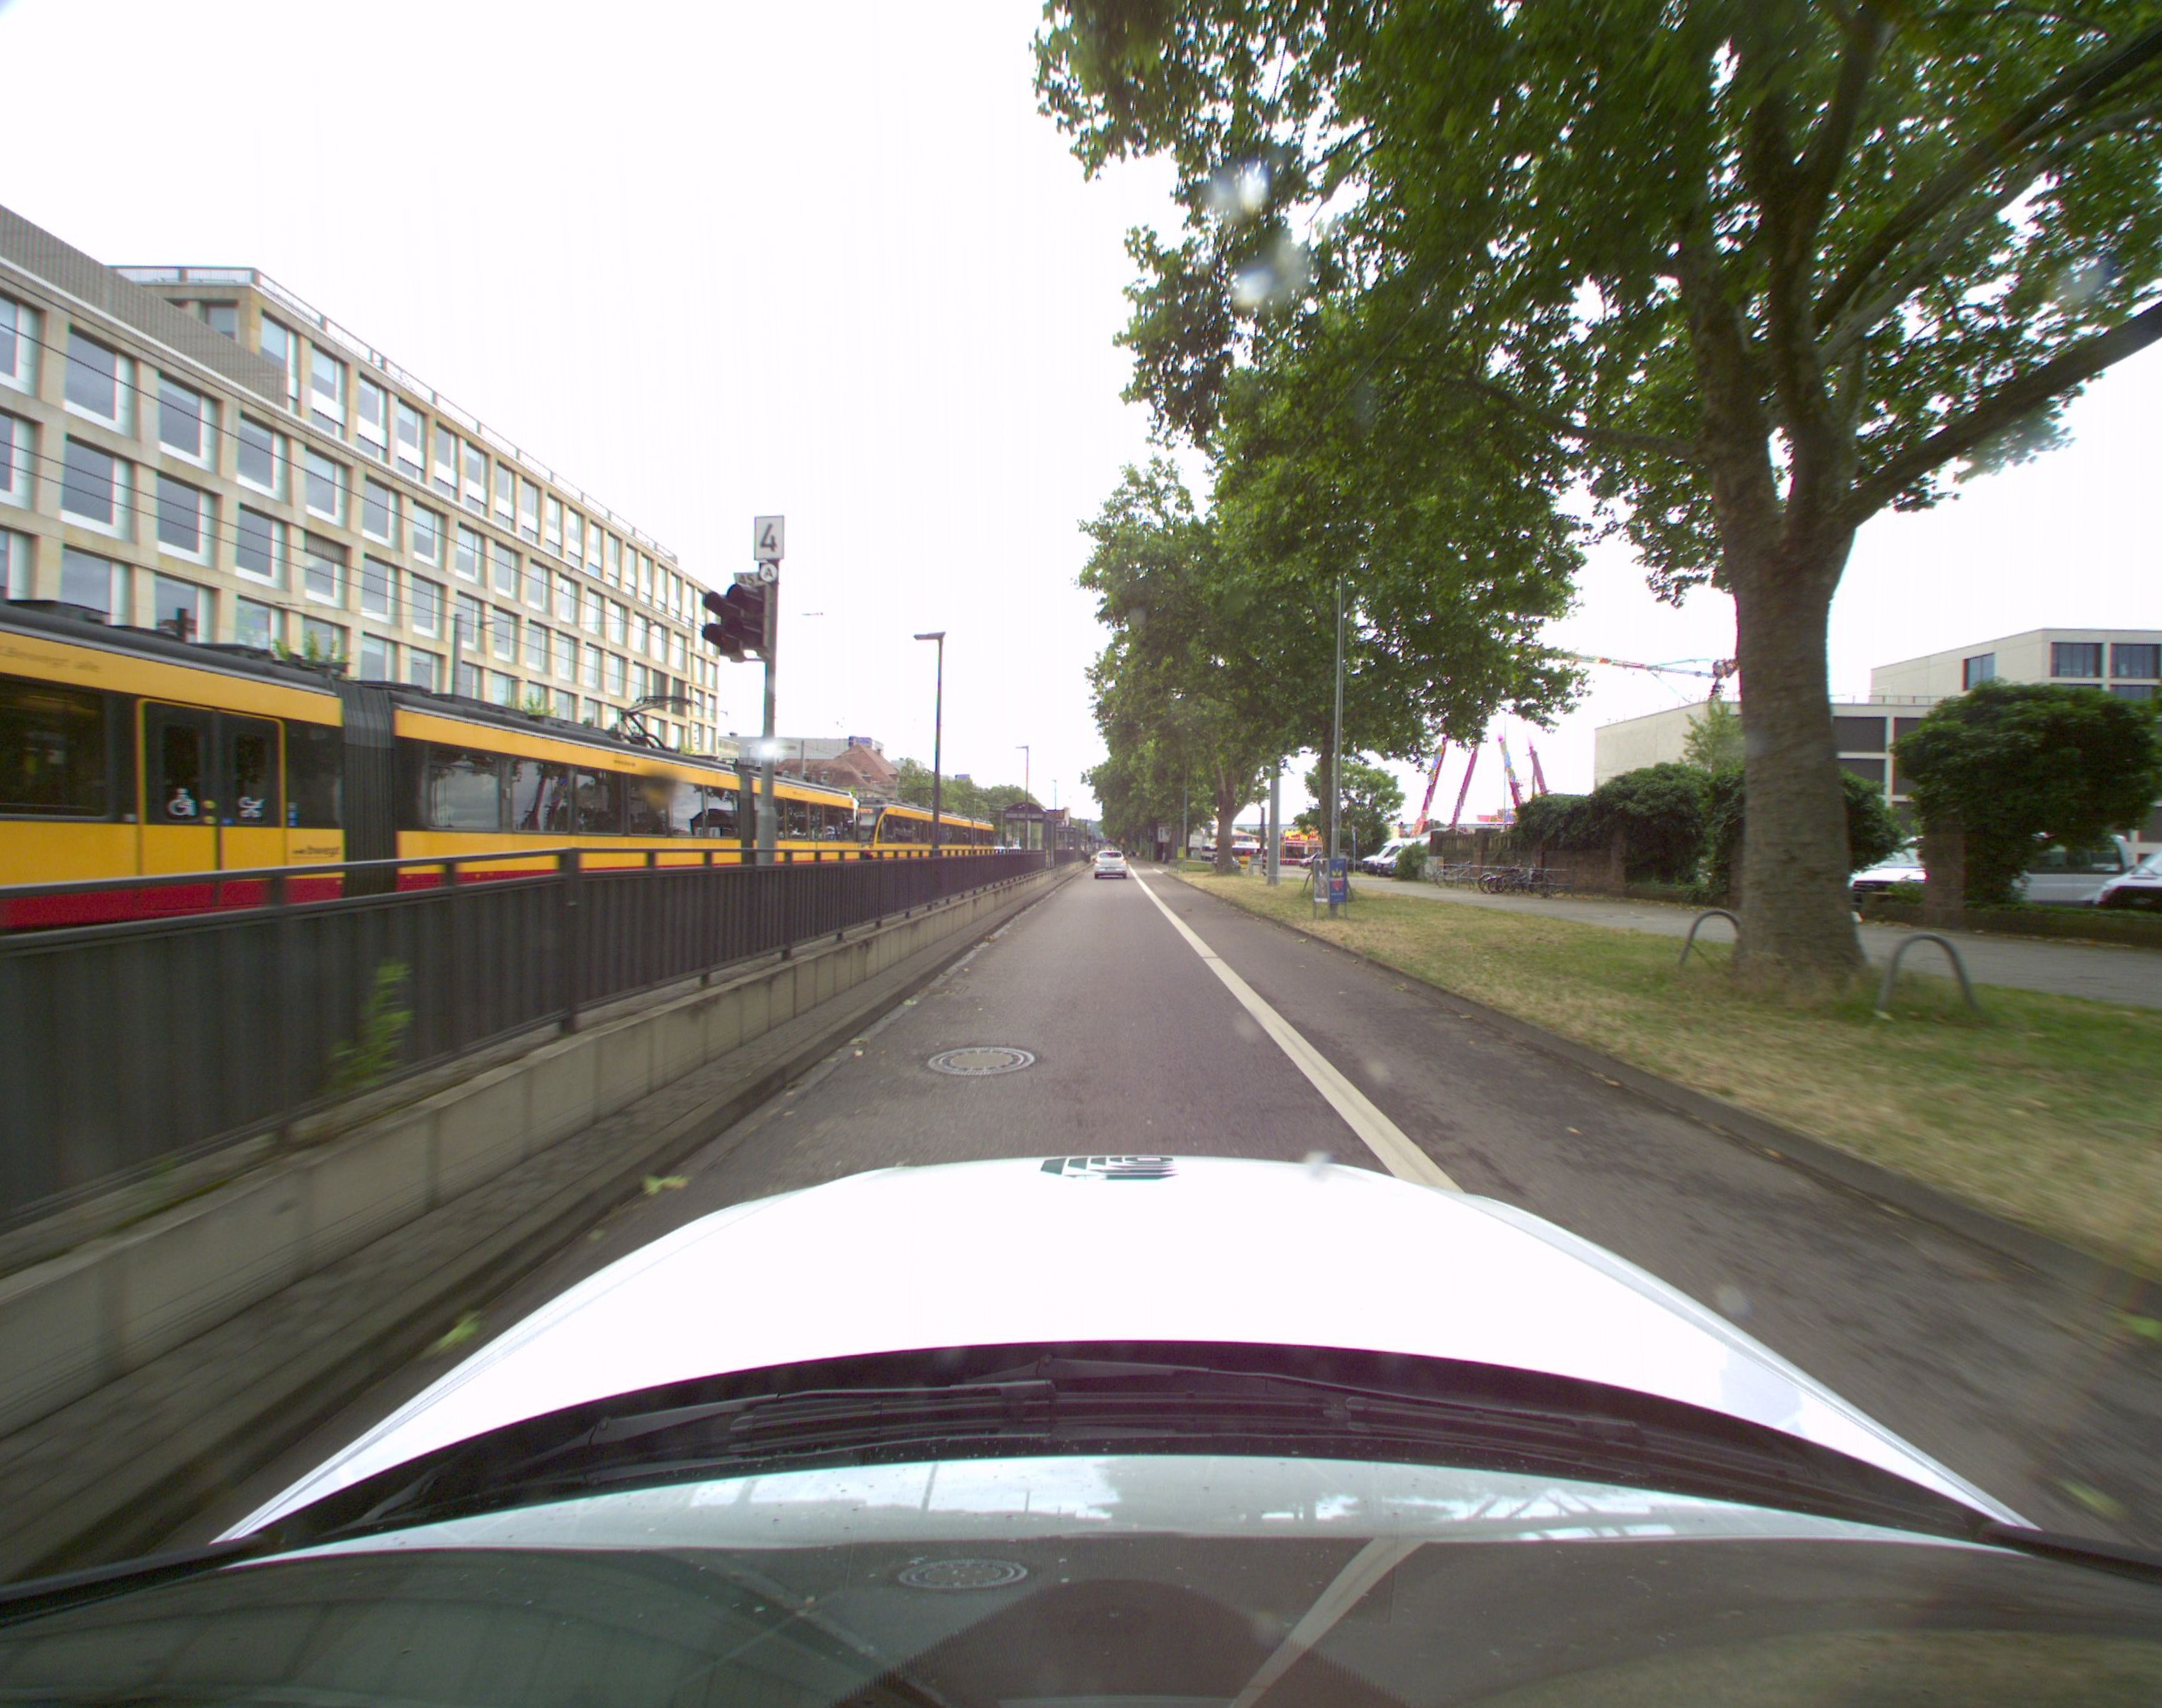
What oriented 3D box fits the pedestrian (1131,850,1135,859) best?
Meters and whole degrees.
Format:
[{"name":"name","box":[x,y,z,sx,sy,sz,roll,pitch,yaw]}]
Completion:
[{"name":"pedestrian","box":[8.312,0.146,129.934,0.393,1.444,0.565,1,-1,16]}]

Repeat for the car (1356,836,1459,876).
[{"name":"car","box":[21.693,0.131,54.238,6.003,2.555,2.100,1,0,0]}]

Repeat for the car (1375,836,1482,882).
[{"name":"car","box":[21.622,0.294,50.841,5.764,2.535,2.040,3,0,1]}]

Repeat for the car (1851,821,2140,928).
[{"name":"car","box":[21.543,0.470,19.303,5.080,2.264,1.665,2,-1,-1]}]

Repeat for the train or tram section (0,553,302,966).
[{"name":"train or tram section","box":[-11.855,-0.921,4.792,3.225,3.862,11.317,1,0,2]}]

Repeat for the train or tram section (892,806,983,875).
[{"name":"train or tram section","box":[-9.694,-0.779,57.493,3.168,4.179,14.742,1,0,2]}]

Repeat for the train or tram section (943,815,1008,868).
[{"name":"train or tram section","box":[-9.091,-0.932,72.189,3.168,4.179,14.742,1,0,2]}]

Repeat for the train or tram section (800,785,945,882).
[{"name":"train or tram section","box":[-10.292,-0.856,42.775,3.168,4.179,14.742,1,0,2]}]

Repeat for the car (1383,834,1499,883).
[{"name":"car","box":[20.993,0.241,47.712,5.759,2.522,2.173,3,1,4]}]

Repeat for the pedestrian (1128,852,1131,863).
[{"name":"pedestrian","box":[8.879,0.662,150.199,0.393,2.014,0.404,1,-1,17]}]

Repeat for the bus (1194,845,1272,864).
[{"name":"bus","box":[18.812,0.053,101.038,9.249,2.227,1.999,1,0,-1]}]

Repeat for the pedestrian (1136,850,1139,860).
[{"name":"pedestrian","box":[9.002,0.219,129.984,0.393,1.585,0.540,1,-1,12]}]

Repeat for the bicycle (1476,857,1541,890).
[{"name":"bicycle","box":[14.646,0.673,27.920,1.968,1.094,0.550,-1,0,0]}]

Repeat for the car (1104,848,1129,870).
[{"name":"car","box":[2.682,0.355,61.223,1.833,1.552,4.004,0,0,3]}]

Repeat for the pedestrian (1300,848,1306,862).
[{"name":"pedestrian","box":[26.393,0.156,96.911,0.523,1.687,0.492,1,-1,-14]}]

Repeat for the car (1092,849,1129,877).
[{"name":"car","box":[1.582,0.494,44.837,1.879,1.453,3.999,1,0,0]}]

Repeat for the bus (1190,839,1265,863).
[{"name":"bus","box":[18.708,-0.378,104.084,9.249,2.960,1.999,1,-1,-1]}]

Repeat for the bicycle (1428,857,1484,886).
[{"name":"bicycle","box":[14.670,0.681,31.864,1.915,1.091,0.550,-1,0,0]}]

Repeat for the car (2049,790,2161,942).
[{"name":"car","box":[19.844,0.313,13.491,5.217,2.421,2.074,3,-1,-1]}]

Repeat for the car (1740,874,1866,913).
[{"name":"car","box":[29.064,1.566,32.920,3.529,1.420,1.620,1,0,26]}]

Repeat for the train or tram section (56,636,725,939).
[{"name":"train or tram section","box":[-11.347,-0.836,16.116,3.151,3.862,11.317,1,0,2]}]

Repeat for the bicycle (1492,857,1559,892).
[{"name":"bicycle","box":[14.562,0.667,26.703,1.884,1.105,0.550,-1,0,0]}]

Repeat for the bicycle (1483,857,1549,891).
[{"name":"bicycle","box":[14.563,0.673,27.283,1.894,1.097,0.550,-1,0,0]}]

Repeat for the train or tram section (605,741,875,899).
[{"name":"train or tram section","box":[-10.879,-0.885,28.643,3.168,4.179,13.628,1,0,2]}]

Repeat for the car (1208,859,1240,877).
[{"name":"car","box":[11.833,1.177,67.740,1.858,1.430,3.997,1,0,-2]}]

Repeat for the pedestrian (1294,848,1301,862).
[{"name":"pedestrian","box":[25.639,0.145,96.455,0.523,1.687,0.492,1,-1,-14]}]

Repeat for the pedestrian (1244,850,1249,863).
[{"name":"pedestrian","box":[19.303,0.267,94.884,0.491,1.463,0.523,1,-1,-1]}]
